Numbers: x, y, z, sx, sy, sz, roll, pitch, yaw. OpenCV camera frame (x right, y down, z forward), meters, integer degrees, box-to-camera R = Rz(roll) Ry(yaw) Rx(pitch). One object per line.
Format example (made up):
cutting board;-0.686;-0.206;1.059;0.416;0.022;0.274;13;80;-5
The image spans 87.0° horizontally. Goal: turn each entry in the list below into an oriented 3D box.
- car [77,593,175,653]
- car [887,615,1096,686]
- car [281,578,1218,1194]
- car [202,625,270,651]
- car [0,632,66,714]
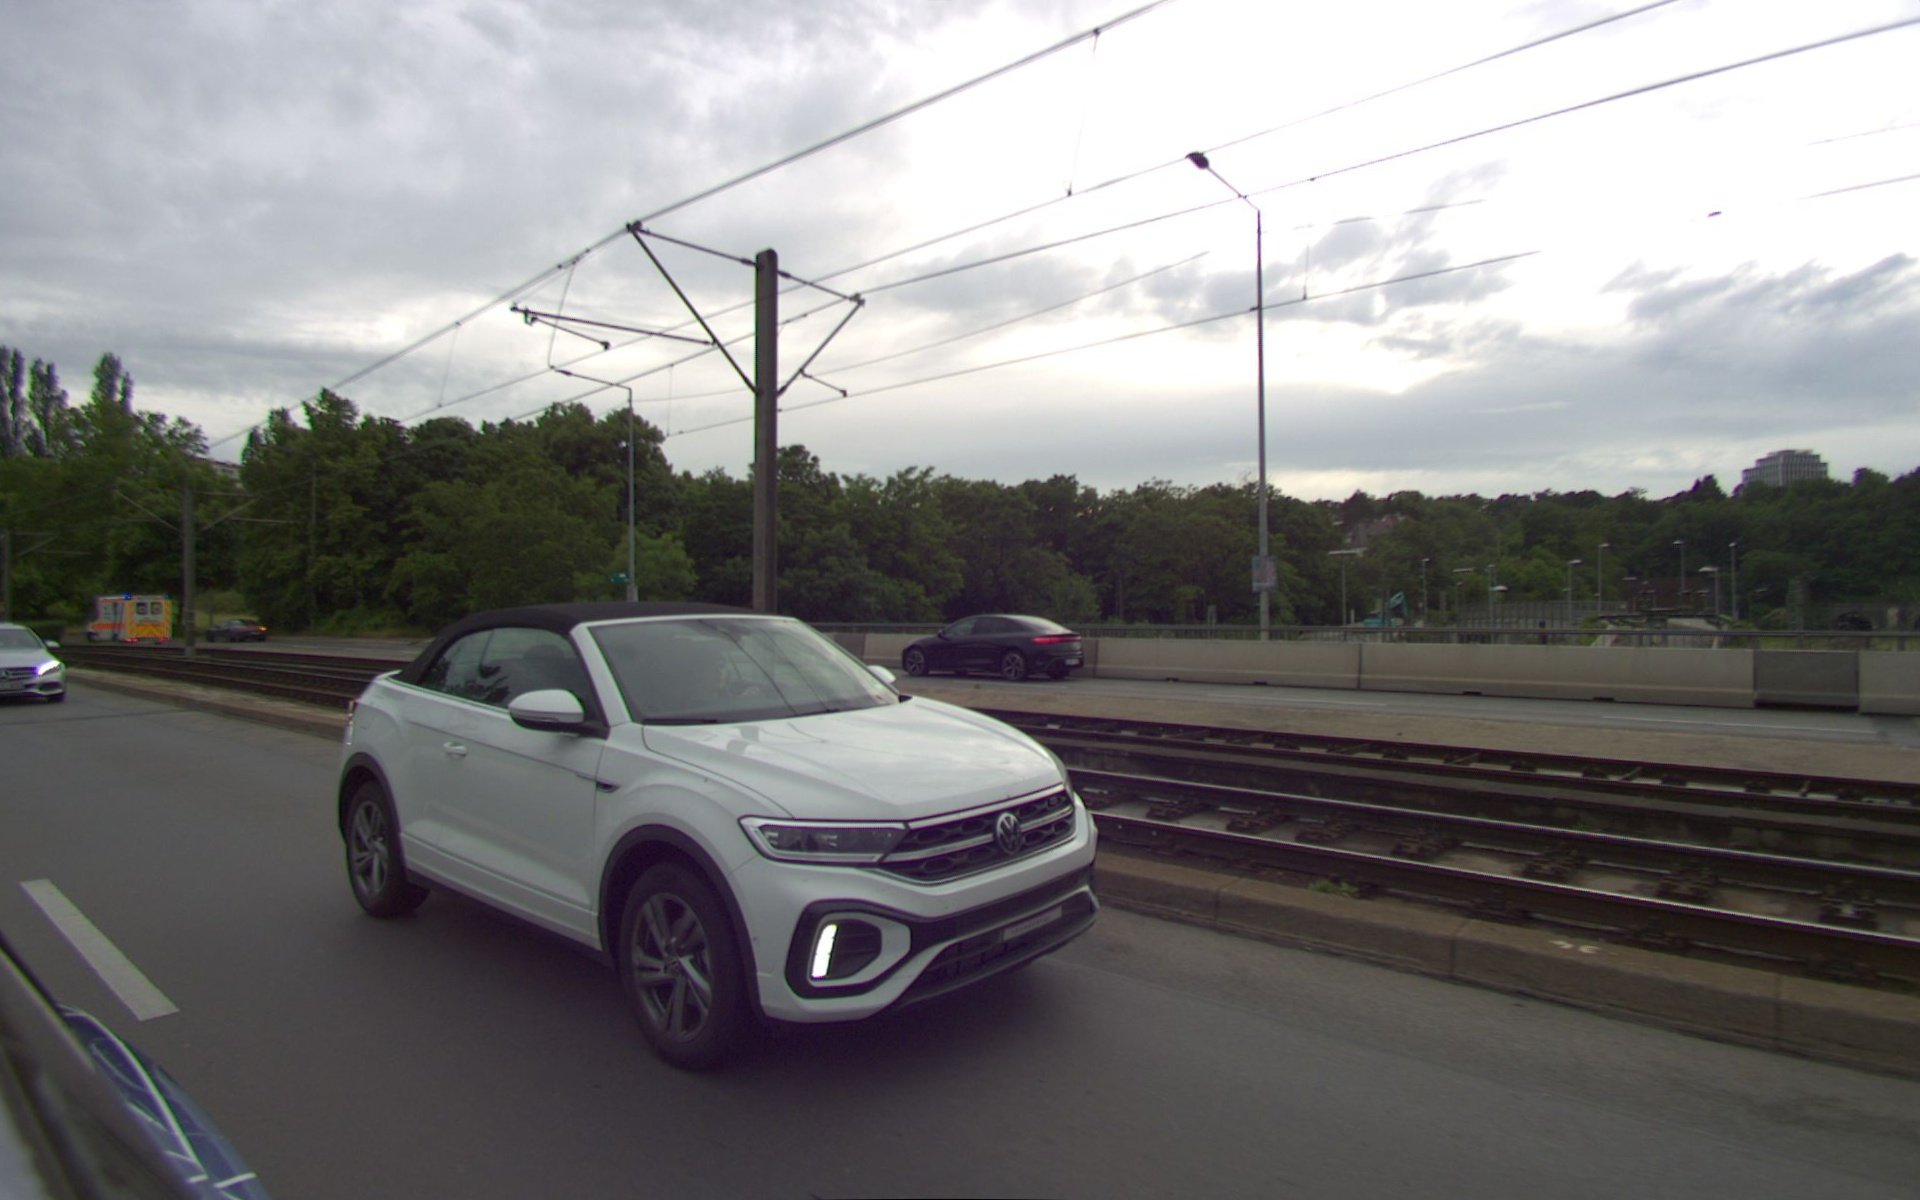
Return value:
car;-46.014;1.226;55.790;6.338;3.139;2.371;-1;0;33
car;0.640;1.123;23.253;4.738;1.447;1.797;-2;-1;41
car;-1.318;0.719;4.701;4.536;1.535;1.853;-1;0;40
car;-41.590;2.182;58.092;4.610;1.324;1.820;-2;0;37
car;-17.818;1.292;18.430;4.058;1.366;1.847;-2;-2;42
